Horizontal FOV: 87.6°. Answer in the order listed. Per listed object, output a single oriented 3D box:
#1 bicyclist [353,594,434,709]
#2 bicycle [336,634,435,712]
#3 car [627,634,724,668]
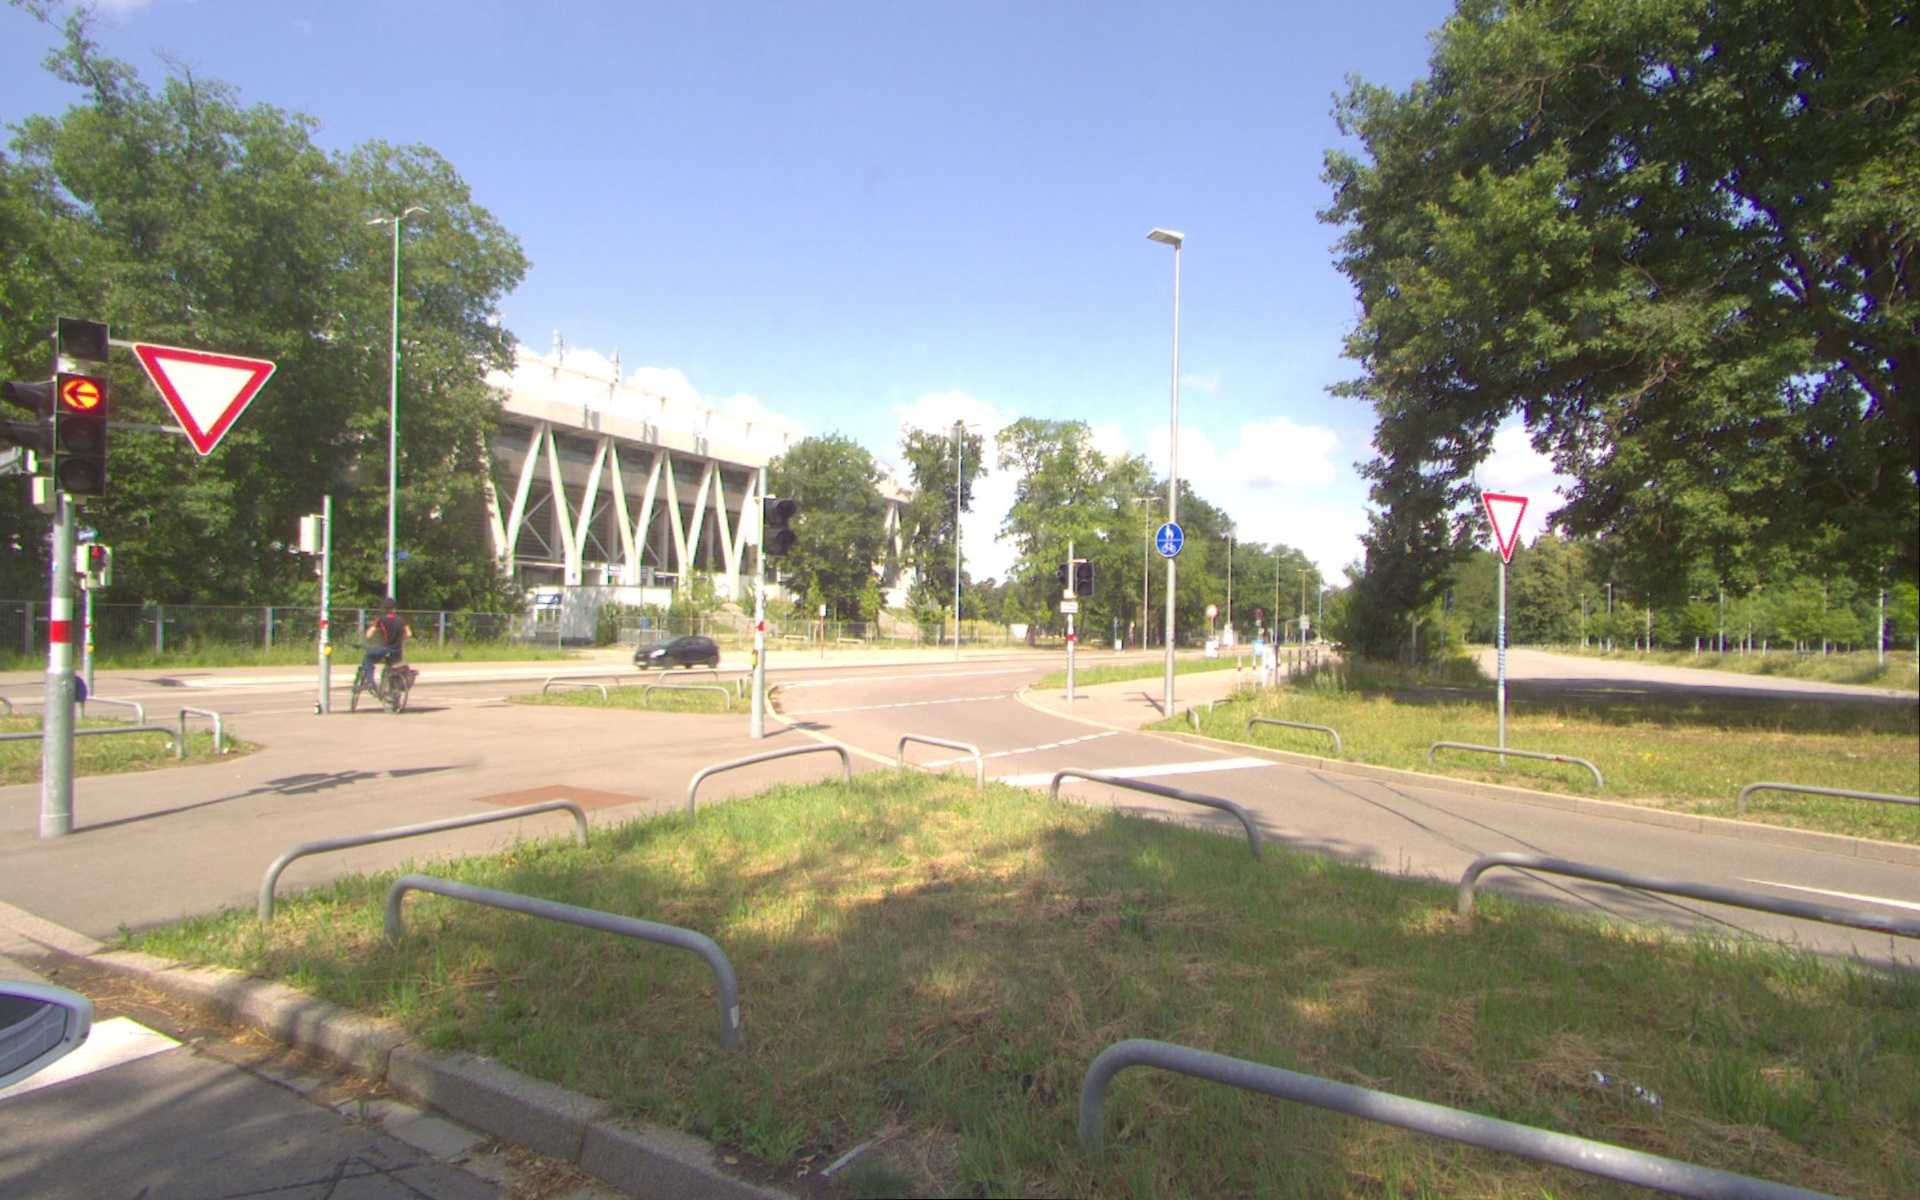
[{"bbox_3d":[-9.304,0.838,16.448,0.967,1.820,0.881,-1,-2,40],"label":"bicyclist"},{"bbox_3d":[-9.529,1.173,16.595,1.876,1.221,0.876,-2,-2,42],"label":"bicycle"},{"bbox_3d":[-12.098,2.148,42.797,1.580,1.395,3.956,-1,-2,32],"label":"car"}]
